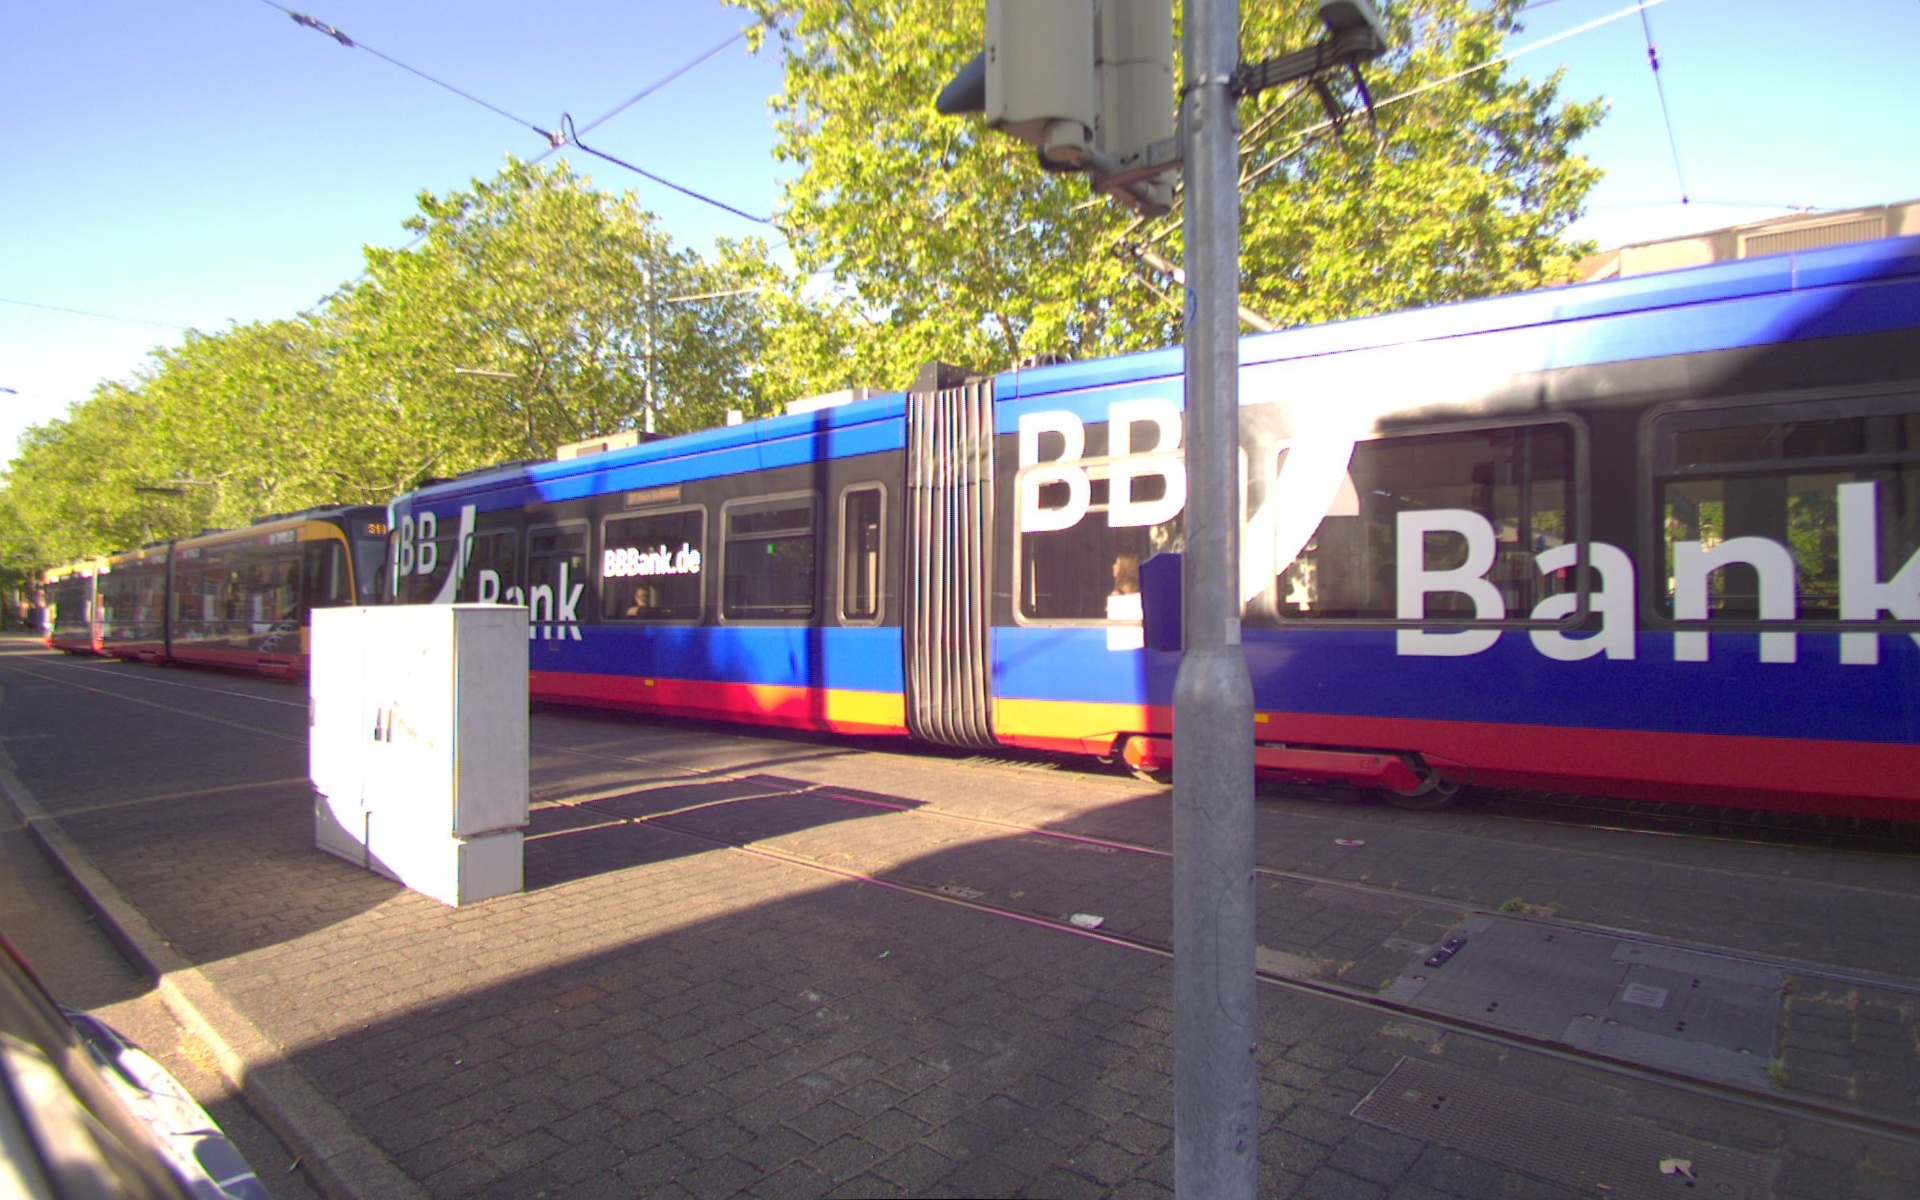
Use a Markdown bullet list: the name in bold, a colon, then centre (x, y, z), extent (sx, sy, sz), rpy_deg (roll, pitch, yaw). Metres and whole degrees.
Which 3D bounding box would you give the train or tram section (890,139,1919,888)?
- **train or tram section**: centre (5.450, -0.407, 6.204), extent (12.465, 3.640, 3.031), rpy_deg (-1, -1, 33)

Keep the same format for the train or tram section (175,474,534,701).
- **train or tram section**: centre (-13.282, -0.088, 21.347), extent (12.110, 3.640, 3.023), rpy_deg (-1, -2, 42)

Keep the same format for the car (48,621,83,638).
- **car**: centre (-85.303, 2.782, 96.517), extent (3.995, 1.563, 1.859), rpy_deg (-1, -1, 38)

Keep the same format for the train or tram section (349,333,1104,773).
- **train or tram section**: centre (-4.097, -0.282, 13.416), extent (12.103, 3.640, 3.025), rpy_deg (-1, -1, 40)

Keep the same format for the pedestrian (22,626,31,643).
- **pedestrian**: centre (-88.501, 3.250, 95.963), extent (0.677, 1.654, 0.570), rpy_deg (-1, -2, 43)

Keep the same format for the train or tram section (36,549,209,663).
- **train or tram section**: centre (-31.417, 0.315, 37.629), extent (12.884, 3.640, 3.023), rpy_deg (-1, -2, 42)

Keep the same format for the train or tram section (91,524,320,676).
- **train or tram section**: centre (-22.212, 0.110, 29.368), extent (11.946, 3.640, 3.022), rpy_deg (-1, -2, 42)
